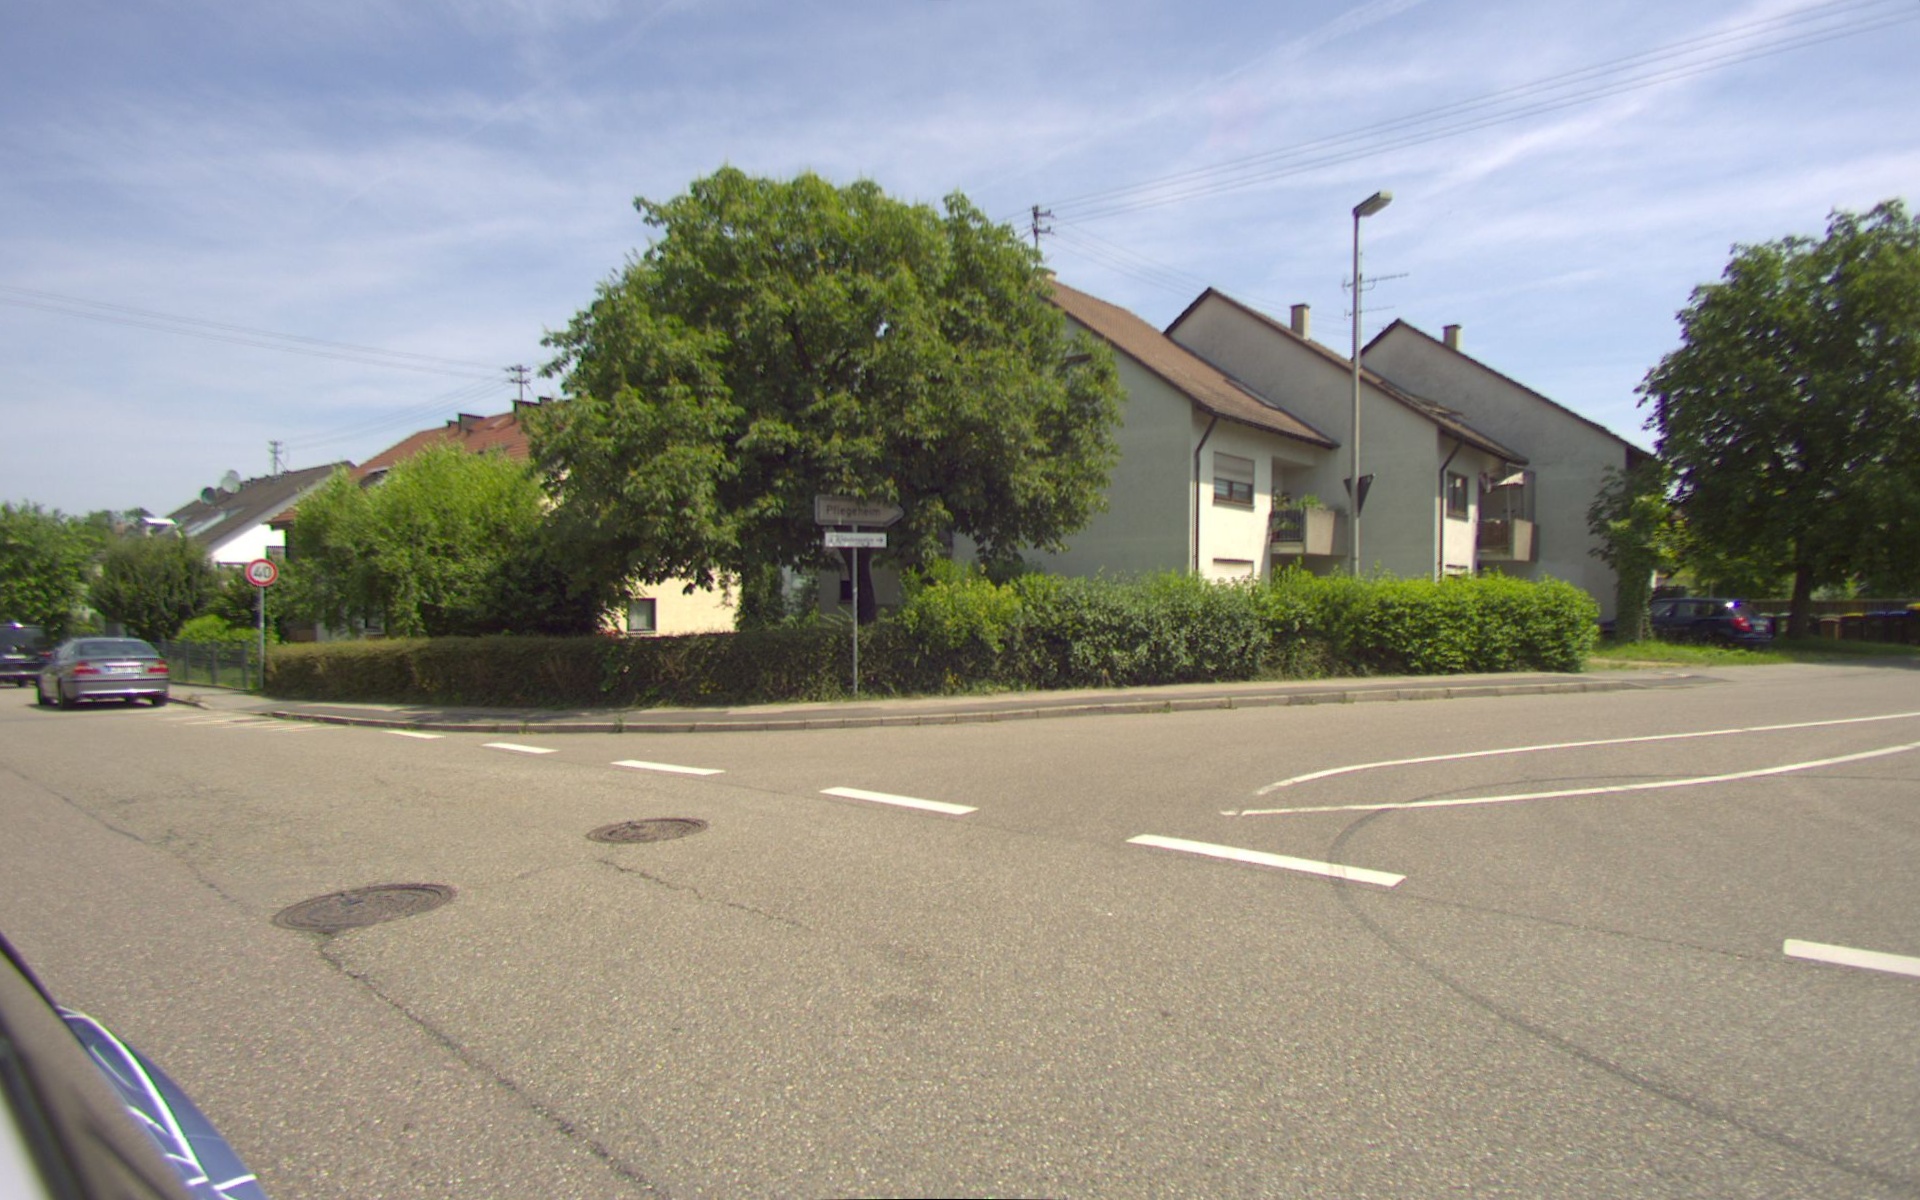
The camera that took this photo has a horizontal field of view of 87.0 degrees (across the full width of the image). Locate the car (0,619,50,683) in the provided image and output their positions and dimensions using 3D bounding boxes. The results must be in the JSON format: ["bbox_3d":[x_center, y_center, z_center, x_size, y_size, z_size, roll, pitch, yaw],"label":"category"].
[{"bbox_3d":[-30.735,1.645,32.165,4.864,1.935,1.878,-3,-4,38],"label":"car"}]

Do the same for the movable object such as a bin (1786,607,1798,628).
[{"bbox_3d":[28.679,0.603,34.880,0.228,0.734,0.235,-1,0,14],"label":"movable object such as a bin"}]

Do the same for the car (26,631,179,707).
[{"bbox_3d":[-17.851,1.355,21.003,4.406,1.405,1.762,-2,-2,41],"label":"car"}]

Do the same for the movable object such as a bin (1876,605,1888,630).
[{"bbox_3d":[30.289,0.565,33.259,0.229,0.811,0.235,-1,0,25],"label":"movable object such as a bin"}]

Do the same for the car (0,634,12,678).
[{"bbox_3d":[-36.431,2.101,37.163,4.238,1.561,1.793,-3,-2,39],"label":"car"}]

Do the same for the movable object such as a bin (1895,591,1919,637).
[{"bbox_3d":[30.724,0.424,31.434,2.170,1.398,1.520,0,-2,-17],"label":"movable object such as a bin"}]

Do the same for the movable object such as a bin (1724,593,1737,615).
[{"bbox_3d":[25.297,0.133,33.237,0.247,0.734,0.236,-1,0,2],"label":"movable object such as a bin"}]

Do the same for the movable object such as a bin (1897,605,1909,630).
[{"bbox_3d":[30.734,0.564,32.978,0.229,0.811,0.235,-1,0,25],"label":"movable object such as a bin"}]

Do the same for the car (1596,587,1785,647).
[{"bbox_3d":[18.280,0.395,25.475,1.374,1.372,3.618,-1,0,-32],"label":"car"}]

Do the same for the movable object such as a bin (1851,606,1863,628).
[{"bbox_3d":[29.826,0.573,33.635,0.229,0.734,0.235,-1,0,25],"label":"movable object such as a bin"}]
